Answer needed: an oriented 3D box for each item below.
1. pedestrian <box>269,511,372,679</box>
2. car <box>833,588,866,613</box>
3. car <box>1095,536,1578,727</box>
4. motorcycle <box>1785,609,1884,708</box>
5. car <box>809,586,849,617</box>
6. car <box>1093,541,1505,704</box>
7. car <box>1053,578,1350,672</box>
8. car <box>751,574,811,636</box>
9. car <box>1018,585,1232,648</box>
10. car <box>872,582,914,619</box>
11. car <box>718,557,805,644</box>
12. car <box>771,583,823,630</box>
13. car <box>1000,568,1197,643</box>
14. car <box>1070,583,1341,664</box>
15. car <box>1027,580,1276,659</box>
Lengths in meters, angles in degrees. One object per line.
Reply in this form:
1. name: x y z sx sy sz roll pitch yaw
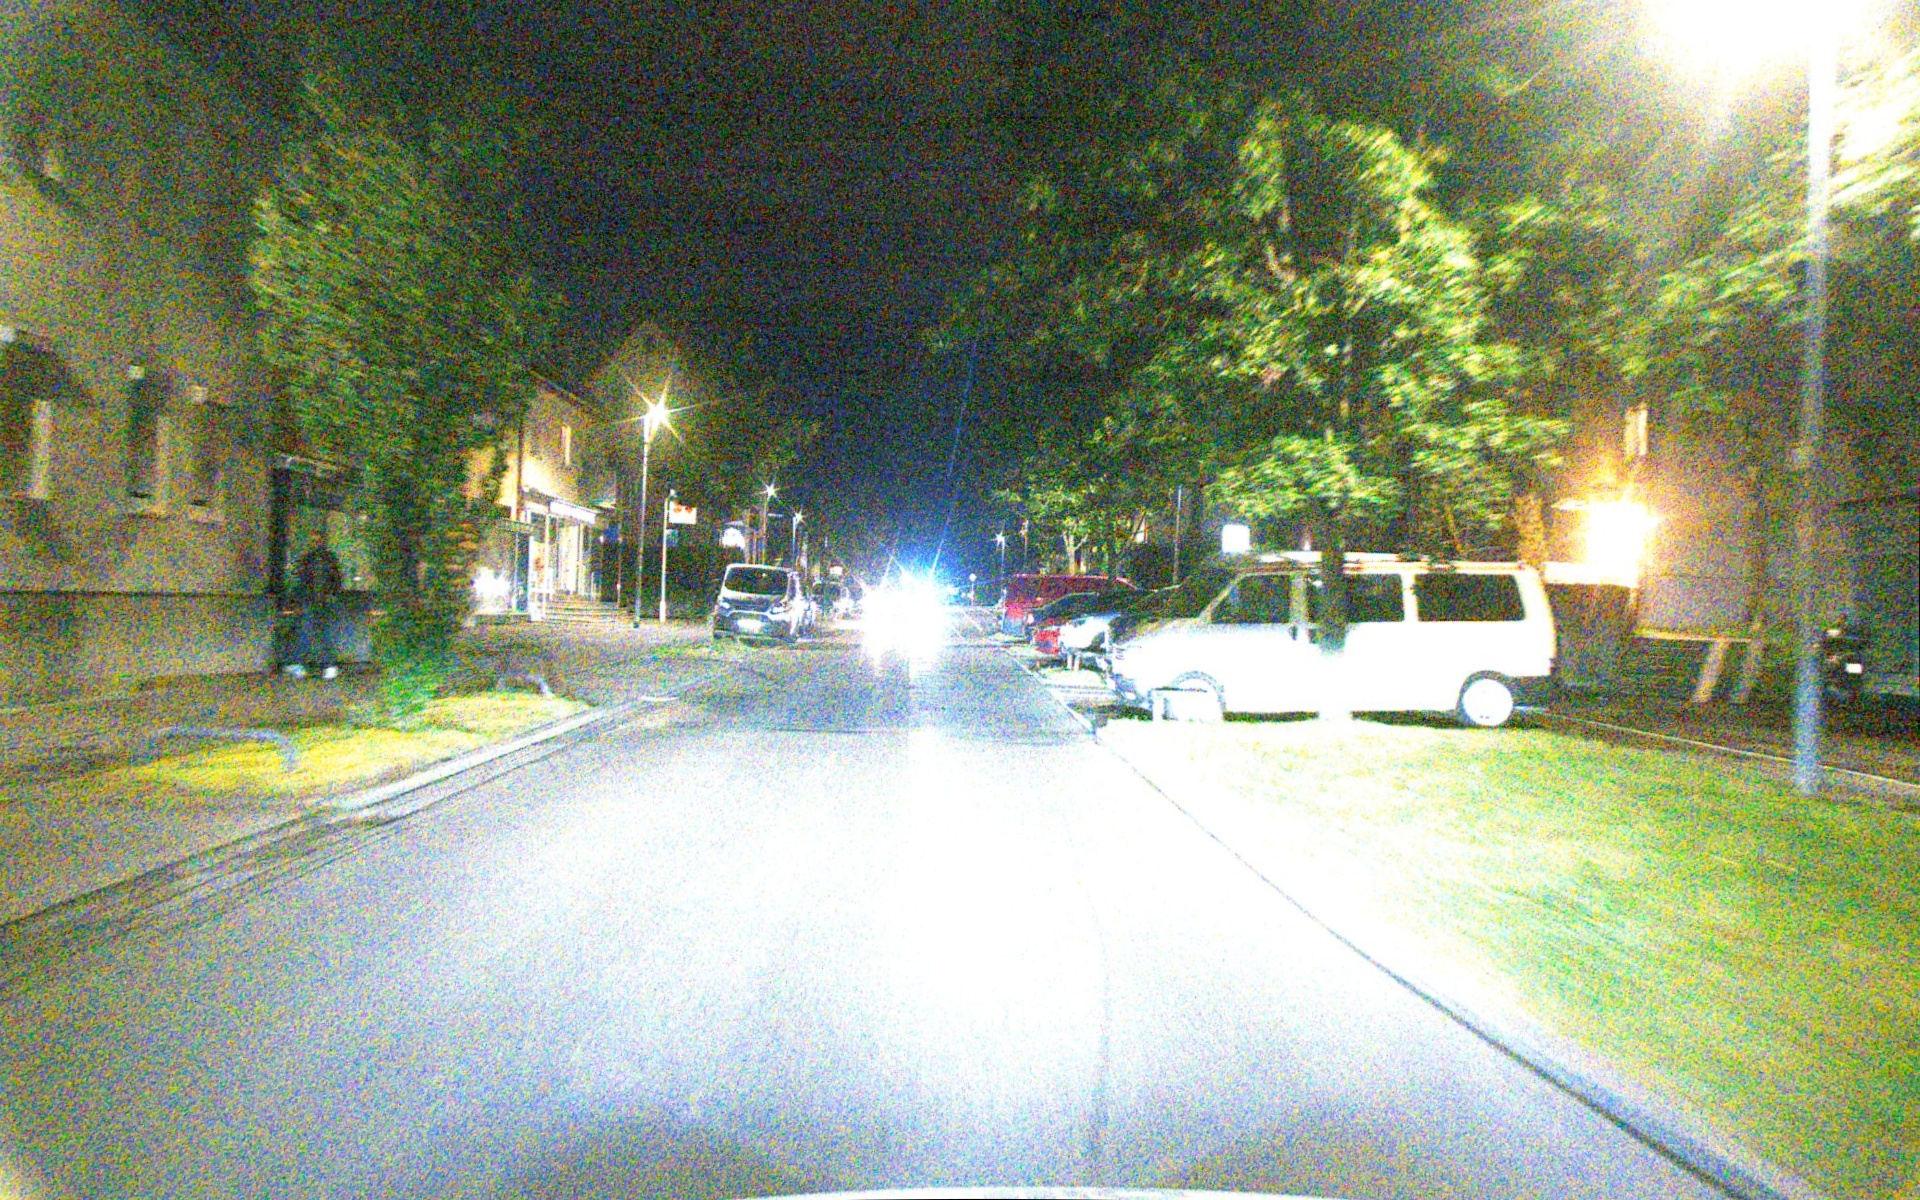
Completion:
1. pedestrian: -8.135 -0.069 21.095 0.769 2.048 1.204 3 0 -1
2. car: -6.050 0.008 90.940 1.649 1.354 3.598 1 0 -2
3. car: 4.210 0.330 19.102 5.078 2.049 2.101 0 0 -2
4. motorcycle: 13.305 0.848 25.253 1.048 1.350 2.706 1 1 22
5. car: -5.975 0.048 75.585 1.649 1.354 3.598 1 0 -2
6. car: 4.428 0.276 22.171 5.078 2.049 2.101 0 0 -2
7. car: 4.315 0.426 30.149 5.078 1.622 2.101 0 0 -2
8. car: -5.331 0.138 49.565 1.503 1.717 3.211 3 0 -2
9. car: 4.048 0.395 41.152 5.078 1.495 2.101 0 0 -2
10. car: -3.138 0.006 77.615 1.888 1.677 3.820 0 1 -2
11. car: -5.062 -0.003 42.657 1.788 2.021 4.464 3 0 -2
12. car: -5.357 0.184 54.684 1.503 1.476 3.118 1 0 -2
13. car: 3.711 0.145 43.817 5.072 1.920 2.103 0 0 8
14. car: 4.841 0.442 33.099 5.078 1.551 2.101 0 0 -2
15. car: 4.055 0.394 35.637 5.078 1.622 2.101 0 0 -2
